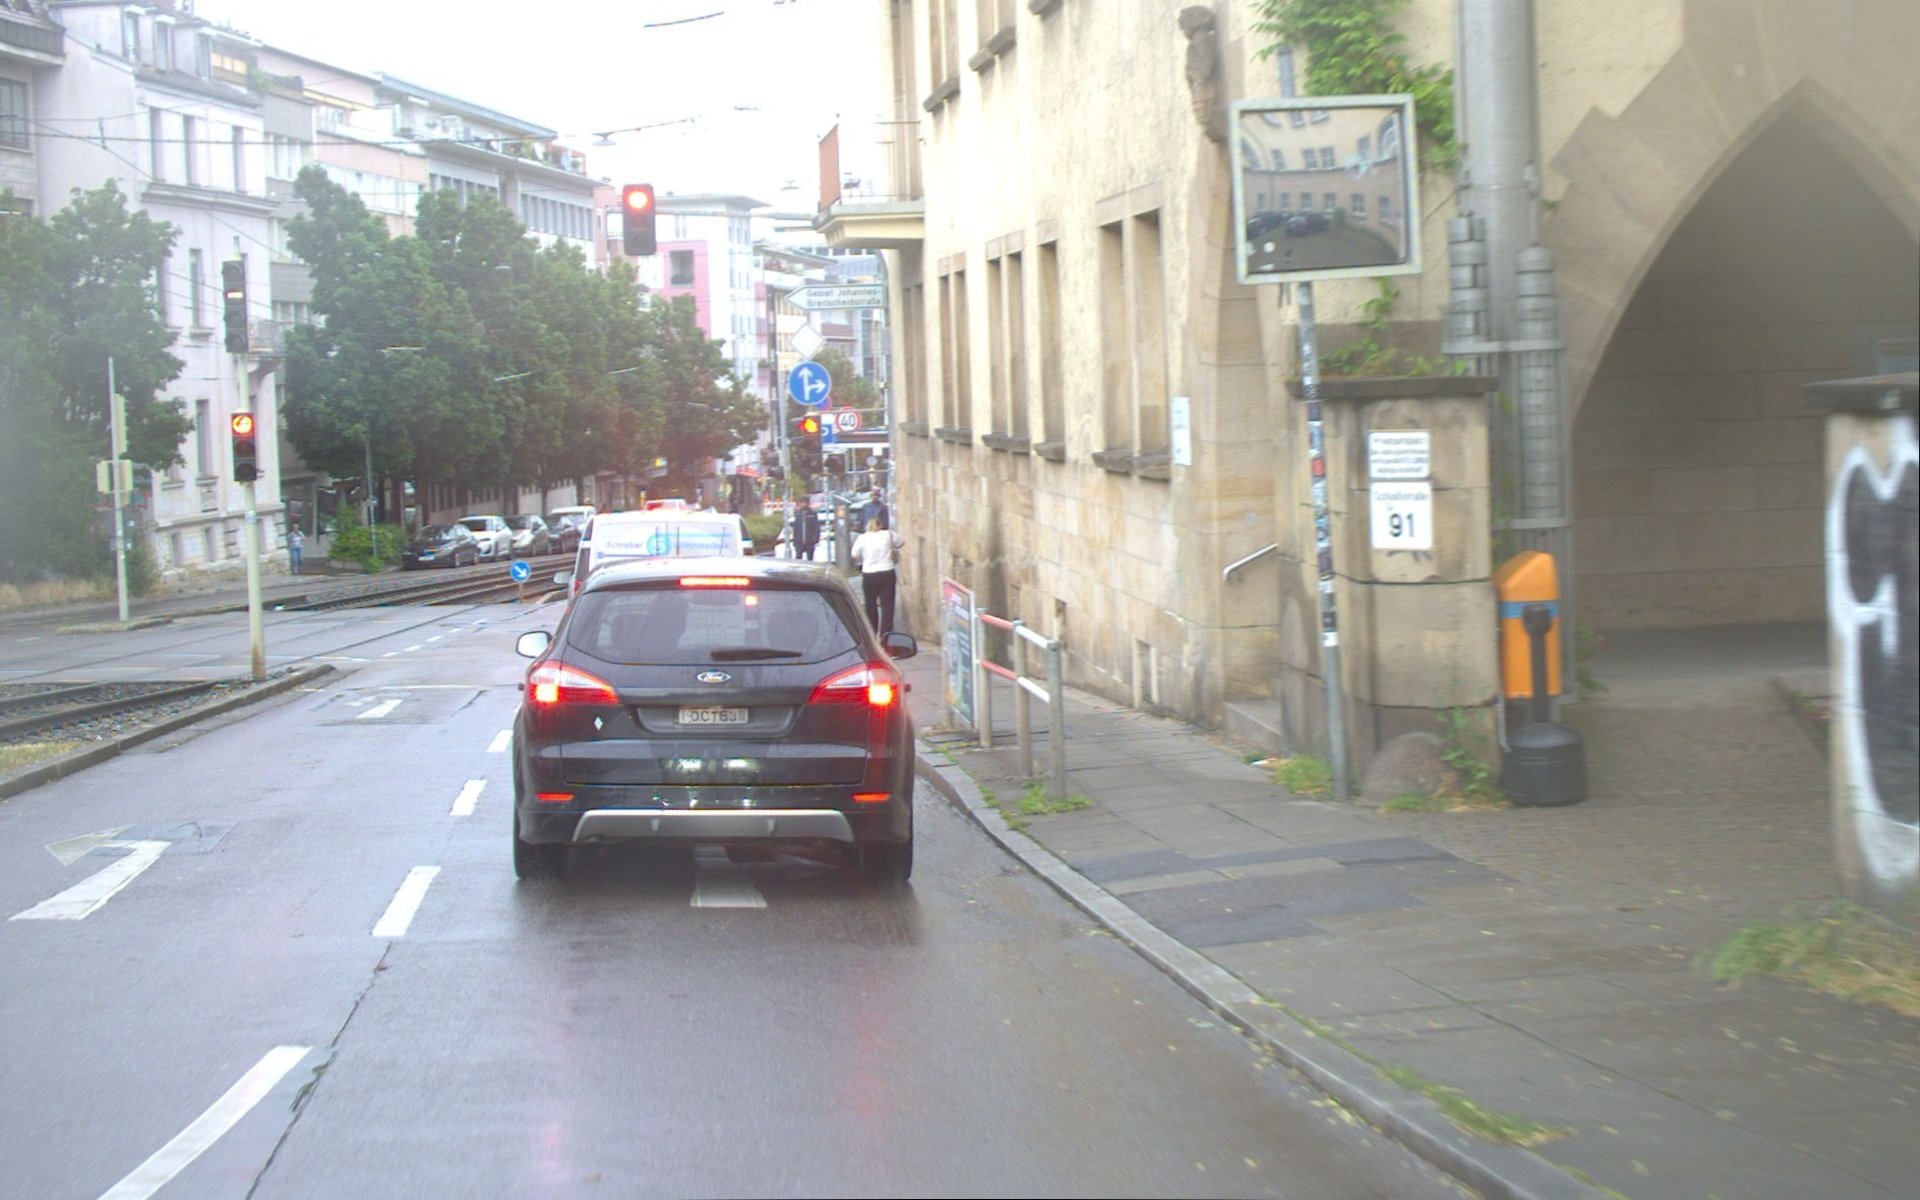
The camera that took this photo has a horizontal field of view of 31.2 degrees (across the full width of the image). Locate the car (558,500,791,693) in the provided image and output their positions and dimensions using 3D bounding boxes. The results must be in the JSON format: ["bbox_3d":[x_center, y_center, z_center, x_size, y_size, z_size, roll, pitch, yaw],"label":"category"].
[{"bbox_3d":[-2.918,-0.091,34.852,2.136,1.739,4.219,-3,2,-5],"label":"car"}]

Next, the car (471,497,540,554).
[{"bbox_3d":[-16.878,-2.774,127.824,1.993,2.007,4.000,-2,1,0],"label":"car"}]

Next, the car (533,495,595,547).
[{"bbox_3d":[-15.953,-3.187,138.778,1.993,2.007,4.000,-2,1,0],"label":"car"}]

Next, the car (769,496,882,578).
[{"bbox_3d":[-3.041,-1.450,78.501,1.994,1.766,3.999,-2,1,6],"label":"car"}]

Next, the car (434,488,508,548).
[{"bbox_3d":[-17.251,-2.900,121.434,1.993,2.007,4.000,-2,1,0],"label":"car"}]

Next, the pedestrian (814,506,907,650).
[{"bbox_3d":[-1.274,-0.285,43.909,1.045,1.789,0.902,-2,1,-7],"label":"pedestrian"}]

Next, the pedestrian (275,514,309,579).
[{"bbox_3d":[-21.252,-1.699,109.390,0.941,2.007,0.765,-2,1,-14],"label":"pedestrian"}]

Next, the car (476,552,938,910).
[{"bbox_3d":[-1.258,0.540,16.613,1.920,1.474,4.001,2,0,-5],"label":"car"}]

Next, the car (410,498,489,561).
[{"bbox_3d":[-17.065,-2.356,115.115,1.993,2.007,4.000,-2,1,0],"label":"car"}]

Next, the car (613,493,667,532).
[{"bbox_3d":[-14.130,-3.869,151.875,1.993,1.656,4.000,-2,1,0],"label":"car"}]
